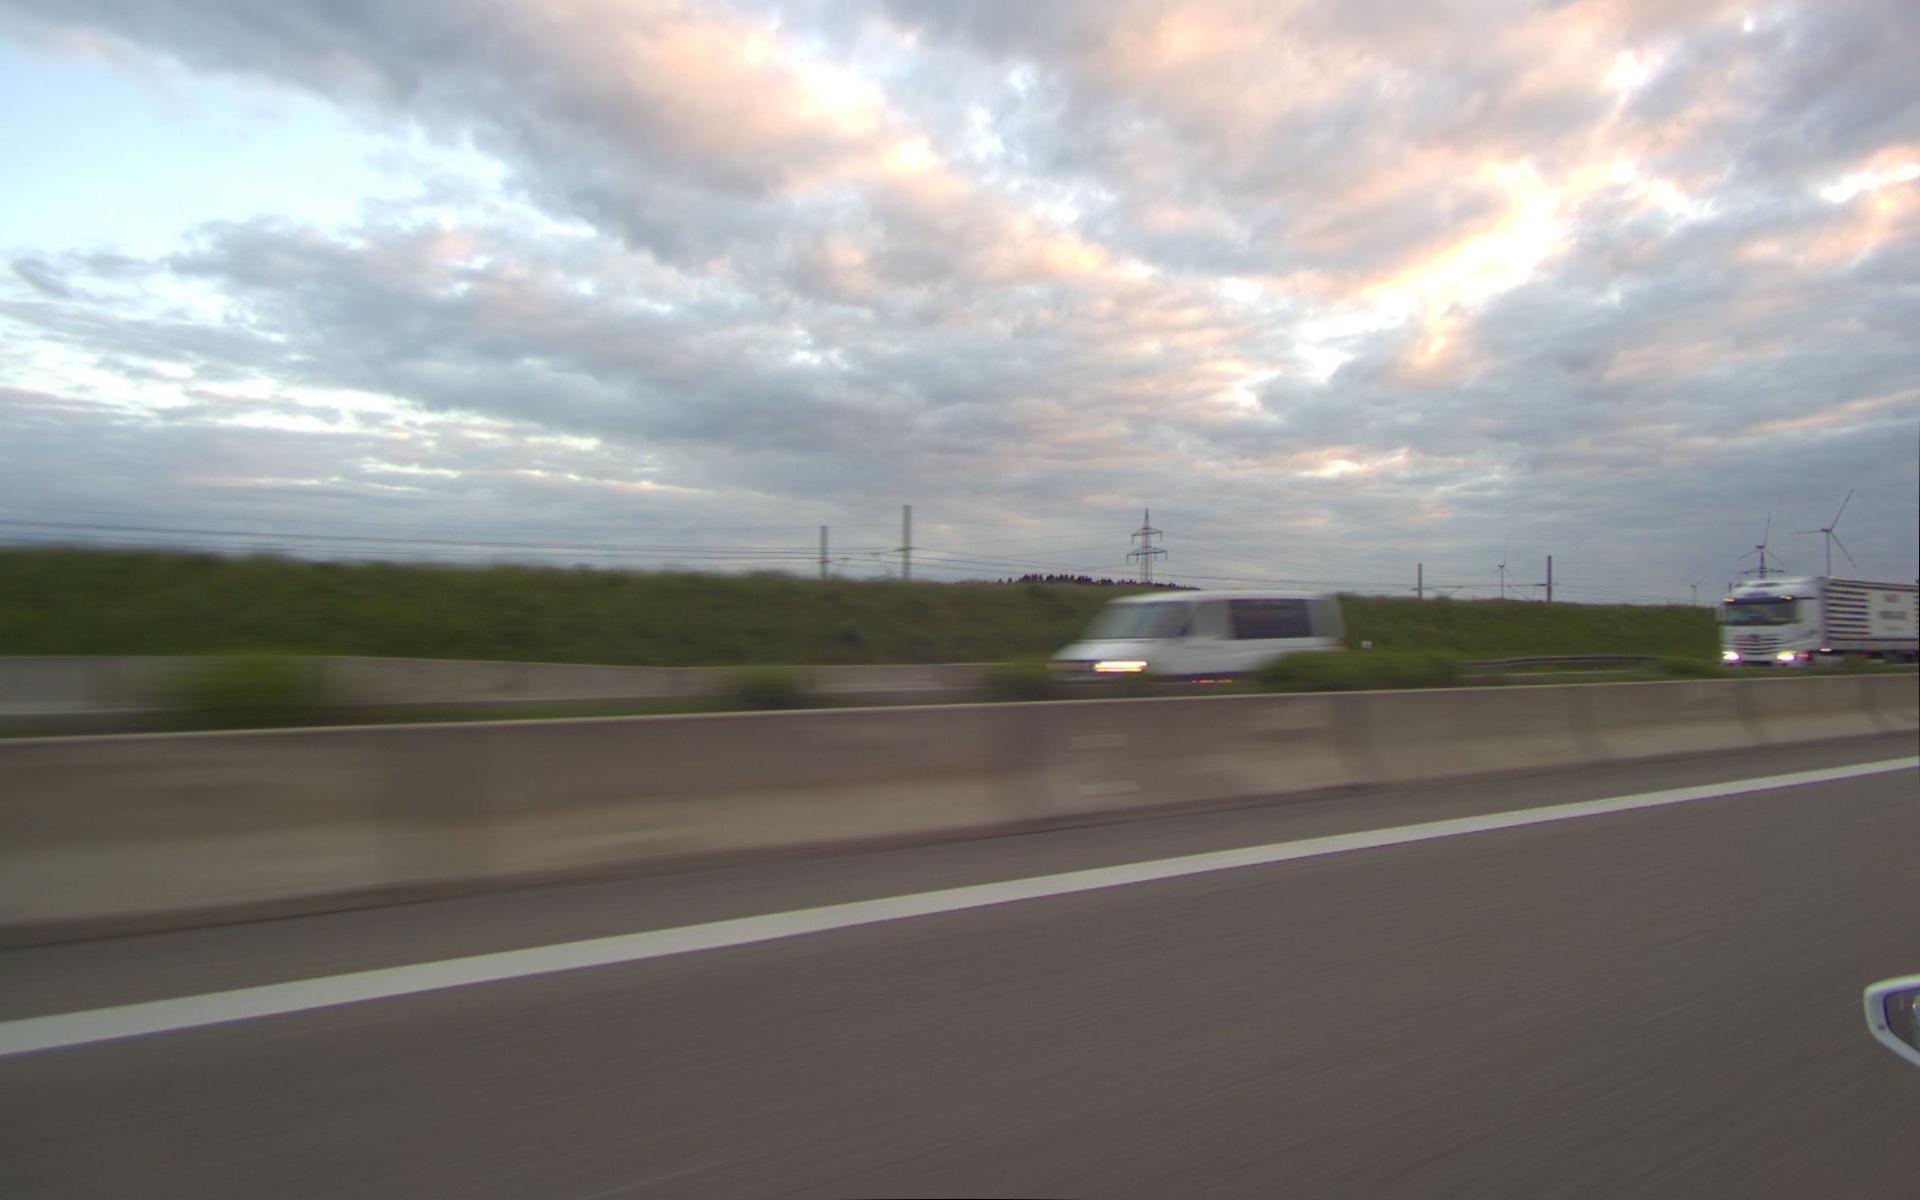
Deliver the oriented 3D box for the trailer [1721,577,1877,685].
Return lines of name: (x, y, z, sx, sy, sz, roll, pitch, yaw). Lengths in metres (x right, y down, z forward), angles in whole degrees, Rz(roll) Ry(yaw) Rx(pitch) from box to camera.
trailer: (34.869, 1.353, 41.714, 6.856, 4.168, 2.675, 2, -4, -30)

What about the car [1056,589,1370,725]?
car: (5.135, 1.119, 20.011, 6.414, 2.375, 2.118, 2, -3, -30)

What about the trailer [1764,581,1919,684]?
trailer: (41.685, 1.591, 45.668, 14.930, 4.168, 2.675, 2, -4, -30)
